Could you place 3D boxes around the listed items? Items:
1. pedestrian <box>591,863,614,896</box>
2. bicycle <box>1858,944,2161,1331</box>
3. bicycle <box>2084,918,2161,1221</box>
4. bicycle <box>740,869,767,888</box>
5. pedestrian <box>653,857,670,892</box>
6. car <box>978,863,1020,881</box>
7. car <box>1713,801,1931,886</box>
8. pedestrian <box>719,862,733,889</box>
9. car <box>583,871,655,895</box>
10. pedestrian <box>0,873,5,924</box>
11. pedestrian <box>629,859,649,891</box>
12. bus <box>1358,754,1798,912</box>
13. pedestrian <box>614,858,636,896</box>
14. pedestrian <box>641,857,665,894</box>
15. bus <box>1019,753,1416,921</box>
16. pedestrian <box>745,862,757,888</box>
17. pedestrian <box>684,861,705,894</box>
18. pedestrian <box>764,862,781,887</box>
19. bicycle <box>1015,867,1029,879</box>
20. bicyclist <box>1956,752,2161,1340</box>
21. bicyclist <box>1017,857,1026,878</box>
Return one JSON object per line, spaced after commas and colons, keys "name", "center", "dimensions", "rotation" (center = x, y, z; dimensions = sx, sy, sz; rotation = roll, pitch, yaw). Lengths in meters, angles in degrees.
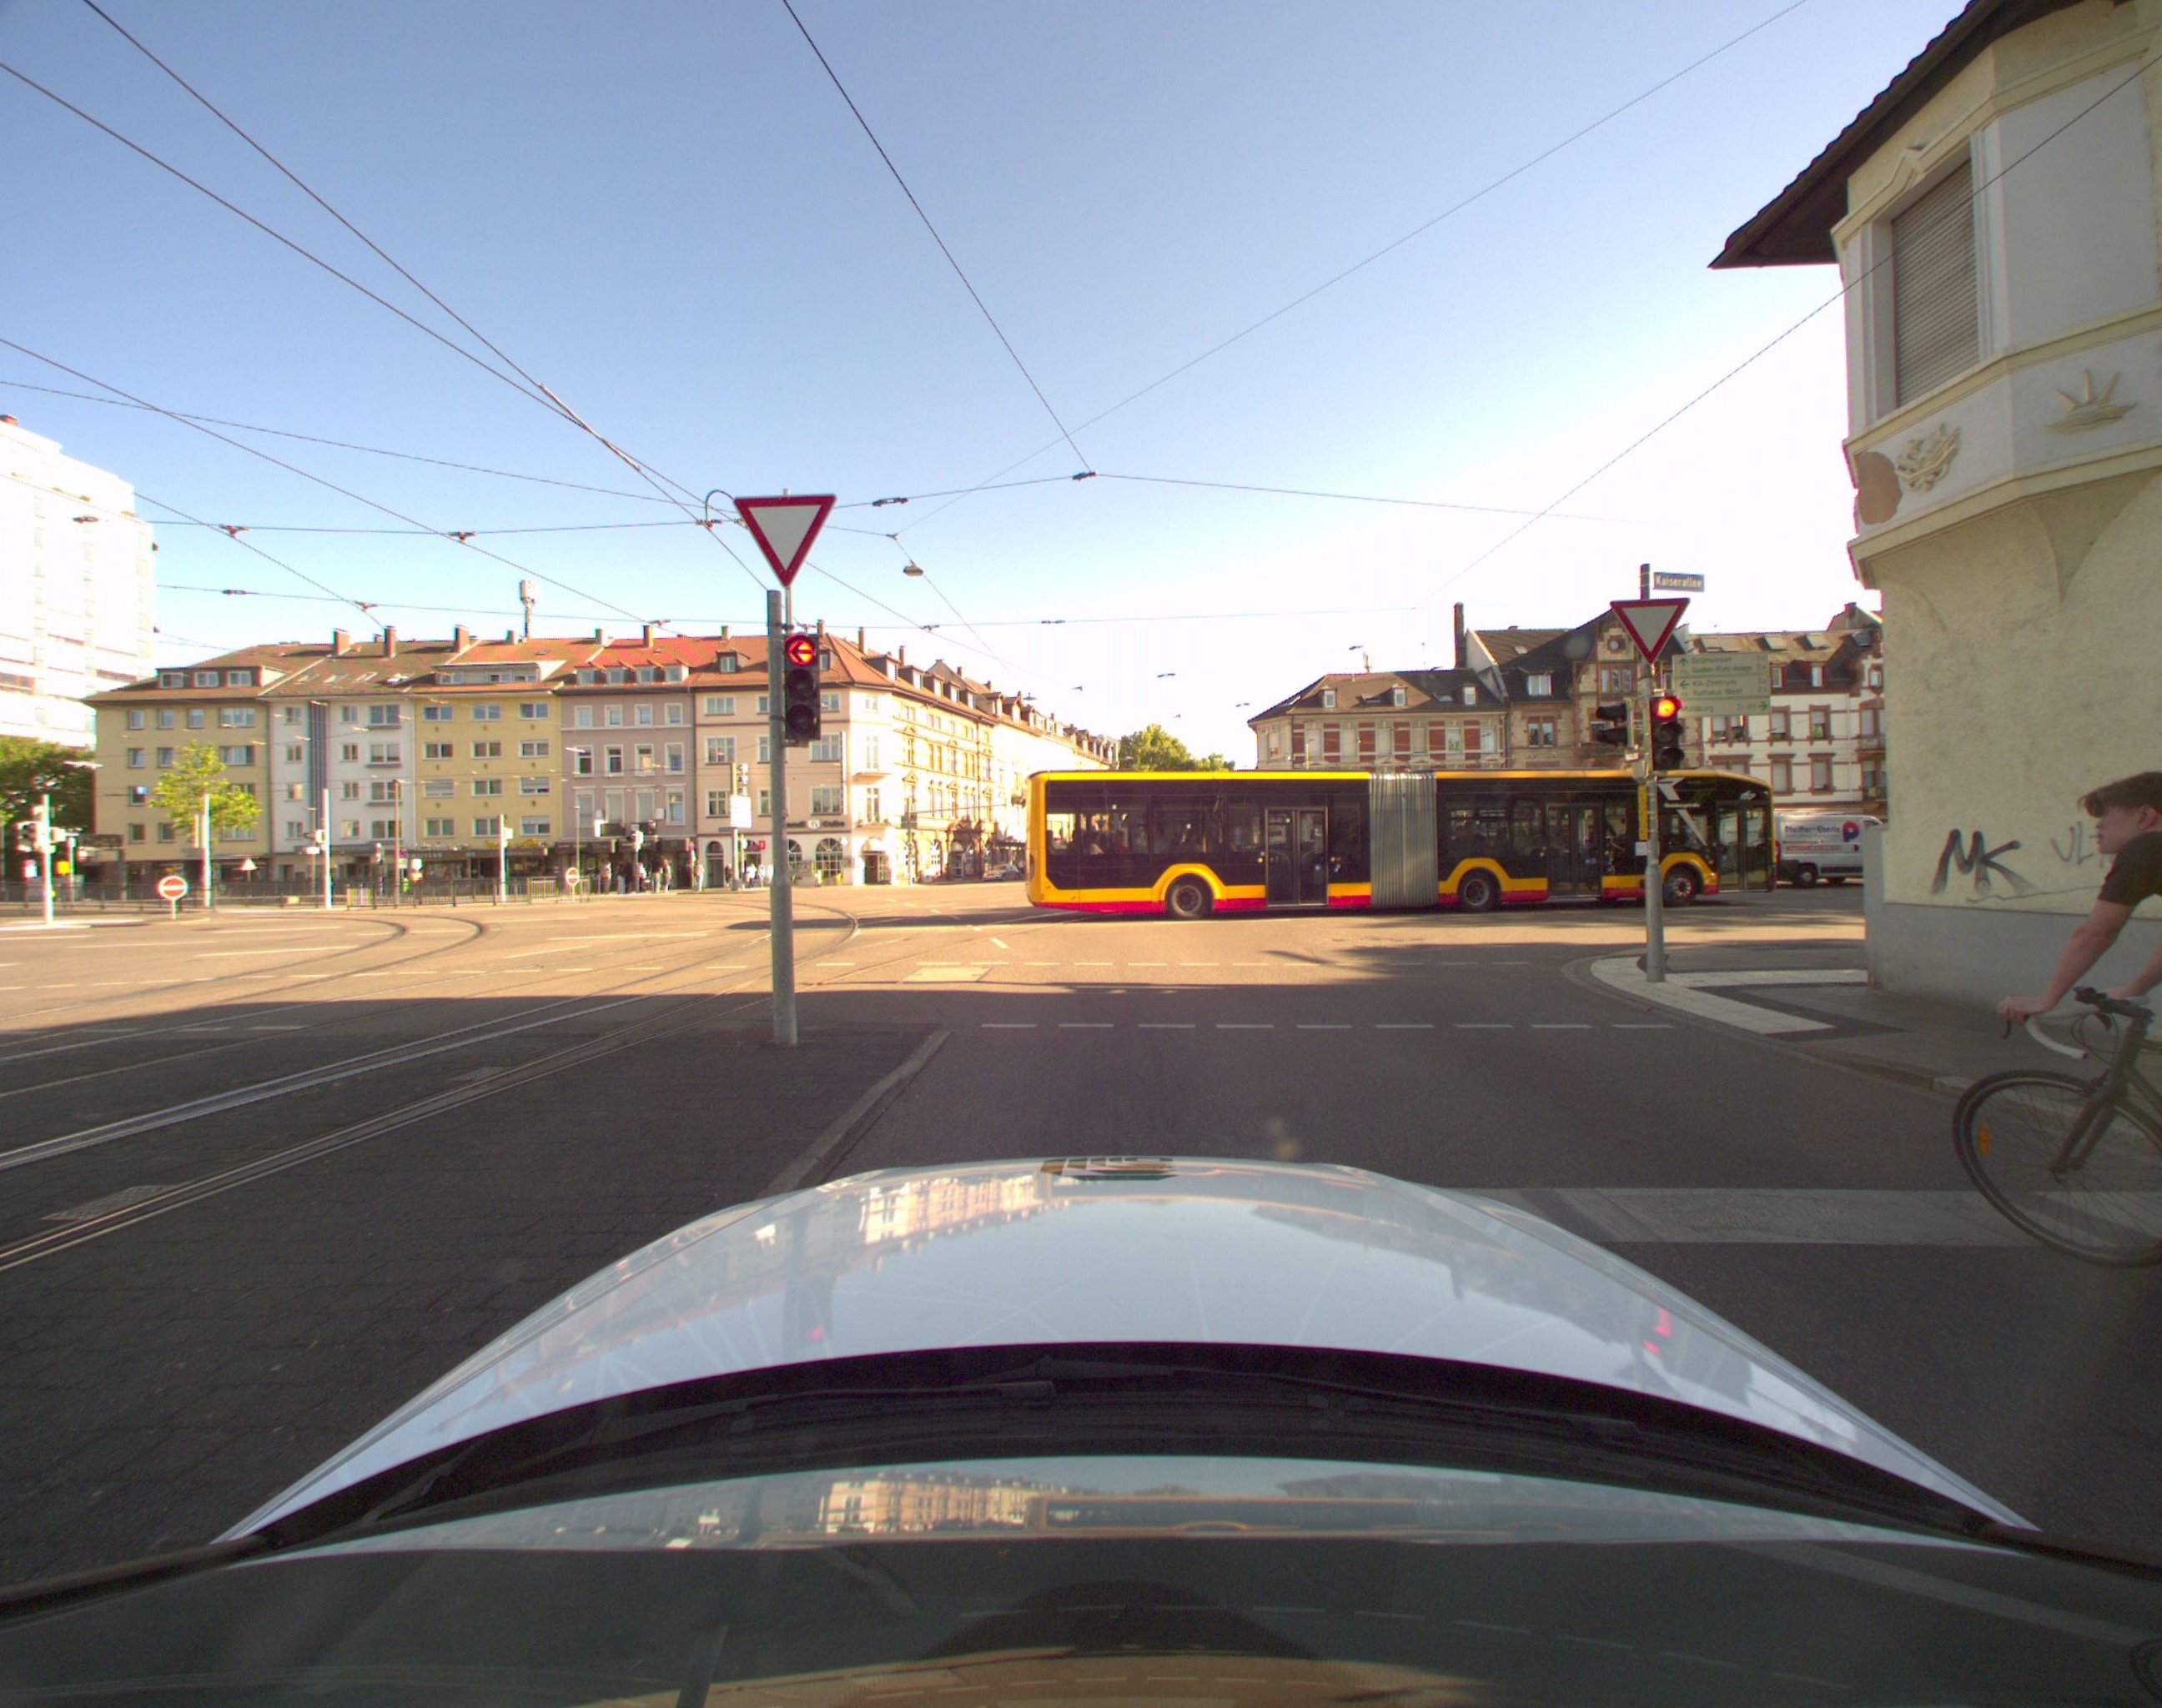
{"name": "pedestrian", "center": [-24.902, 1.300, 42.378], "dimensions": [0.764, 1.682, 0.628], "rotation": [-1, 0, 1]}
{"name": "bicycle", "center": [3.561, 0.916, 2.500], "dimensions": [0.568, 1.058, 1.890], "rotation": [-1, 0, 2]}
{"name": "bicycle", "center": [4.505, 0.855, 2.486], "dimensions": [0.568, 1.165, 1.890], "rotation": [-1, 0, 2]}
{"name": "bicycle", "center": [-23.050, 1.755, 57.362], "dimensions": [1.714, 1.276, 0.385], "rotation": [-1, 0, -16]}
{"name": "pedestrian", "center": [-21.617, 1.073, 42.013], "dimensions": [0.559, 1.786, 0.559], "rotation": [-1, 0, -4]}
{"name": "car", "center": [-6.755, 1.467, 67.361], "dimensions": [1.977, 1.361, 3.836], "rotation": [-1, 0, 18]}
{"name": "car", "center": [22.705, -0.309, 25.055], "dimensions": [5.104, 2.432, 2.077], "rotation": [-1, -1, -6]}
{"name": "pedestrian", "center": [-23.071, 1.401, 52.931], "dimensions": [0.744, 1.682, 0.623], "rotation": [-1, 0, -23]}
{"name": "car", "center": [-30.342, 1.892, 53.534], "dimensions": [3.711, 1.491, 1.820], "rotation": [0, -1, 4]}
{"name": "pedestrian", "center": [-34.931, 1.433, 25.736], "dimensions": [0.770, 1.611, 0.794], "rotation": [-1, 0, -5]}
{"name": "pedestrian", "center": [-22.918, 1.083, 42.201], "dimensions": [0.697, 1.581, 0.559], "rotation": [-1, 0, -4]}
{"name": "bus", "center": [11.811, -0.509, 19.724], "dimensions": [9.400, 3.457, 2.774], "rotation": [0, 1, -7]}
{"name": "pedestrian", "center": [-22.850, 1.153, 40.798], "dimensions": [0.625, 1.850, 0.778], "rotation": [-1, 0, 1]}
{"name": "pedestrian", "center": [-21.528, 1.089, 40.999], "dimensions": [0.764, 1.829, 0.723], "rotation": [-1, 0, 1]}
{"name": "bus", "center": [2.915, -0.399, 18.696], "dimensions": [8.603, 3.457, 2.781], "rotation": [0, 1, -6]}
{"name": "pedestrian", "center": [-22.248, 1.409, 54.920], "dimensions": [0.744, 1.682, 0.623], "rotation": [-1, 0, -23]}
{"name": "pedestrian", "center": [-19.980, 1.192, 42.124], "dimensions": [0.738, 1.682, 0.628], "rotation": [-1, 0, 1]}
{"name": "pedestrian", "center": [-21.057, 1.410, 55.563], "dimensions": [0.907, 1.682, 0.742], "rotation": [-1, 0, -4]}
{"name": "bicycle", "center": [-4.758, 1.522, 65.567], "dimensions": [0.650, 1.000, 1.671], "rotation": [-1, -1, 14]}
{"name": "bicyclist", "center": [3.560, 0.573, 2.498], "dimensions": [0.649, 1.767, 0.995], "rotation": [-1, 0, 2]}
{"name": "bicyclist", "center": [-4.764, 1.084, 65.469], "dimensions": [0.486, 1.601, 0.668], "rotation": [-1, 0, 12]}
